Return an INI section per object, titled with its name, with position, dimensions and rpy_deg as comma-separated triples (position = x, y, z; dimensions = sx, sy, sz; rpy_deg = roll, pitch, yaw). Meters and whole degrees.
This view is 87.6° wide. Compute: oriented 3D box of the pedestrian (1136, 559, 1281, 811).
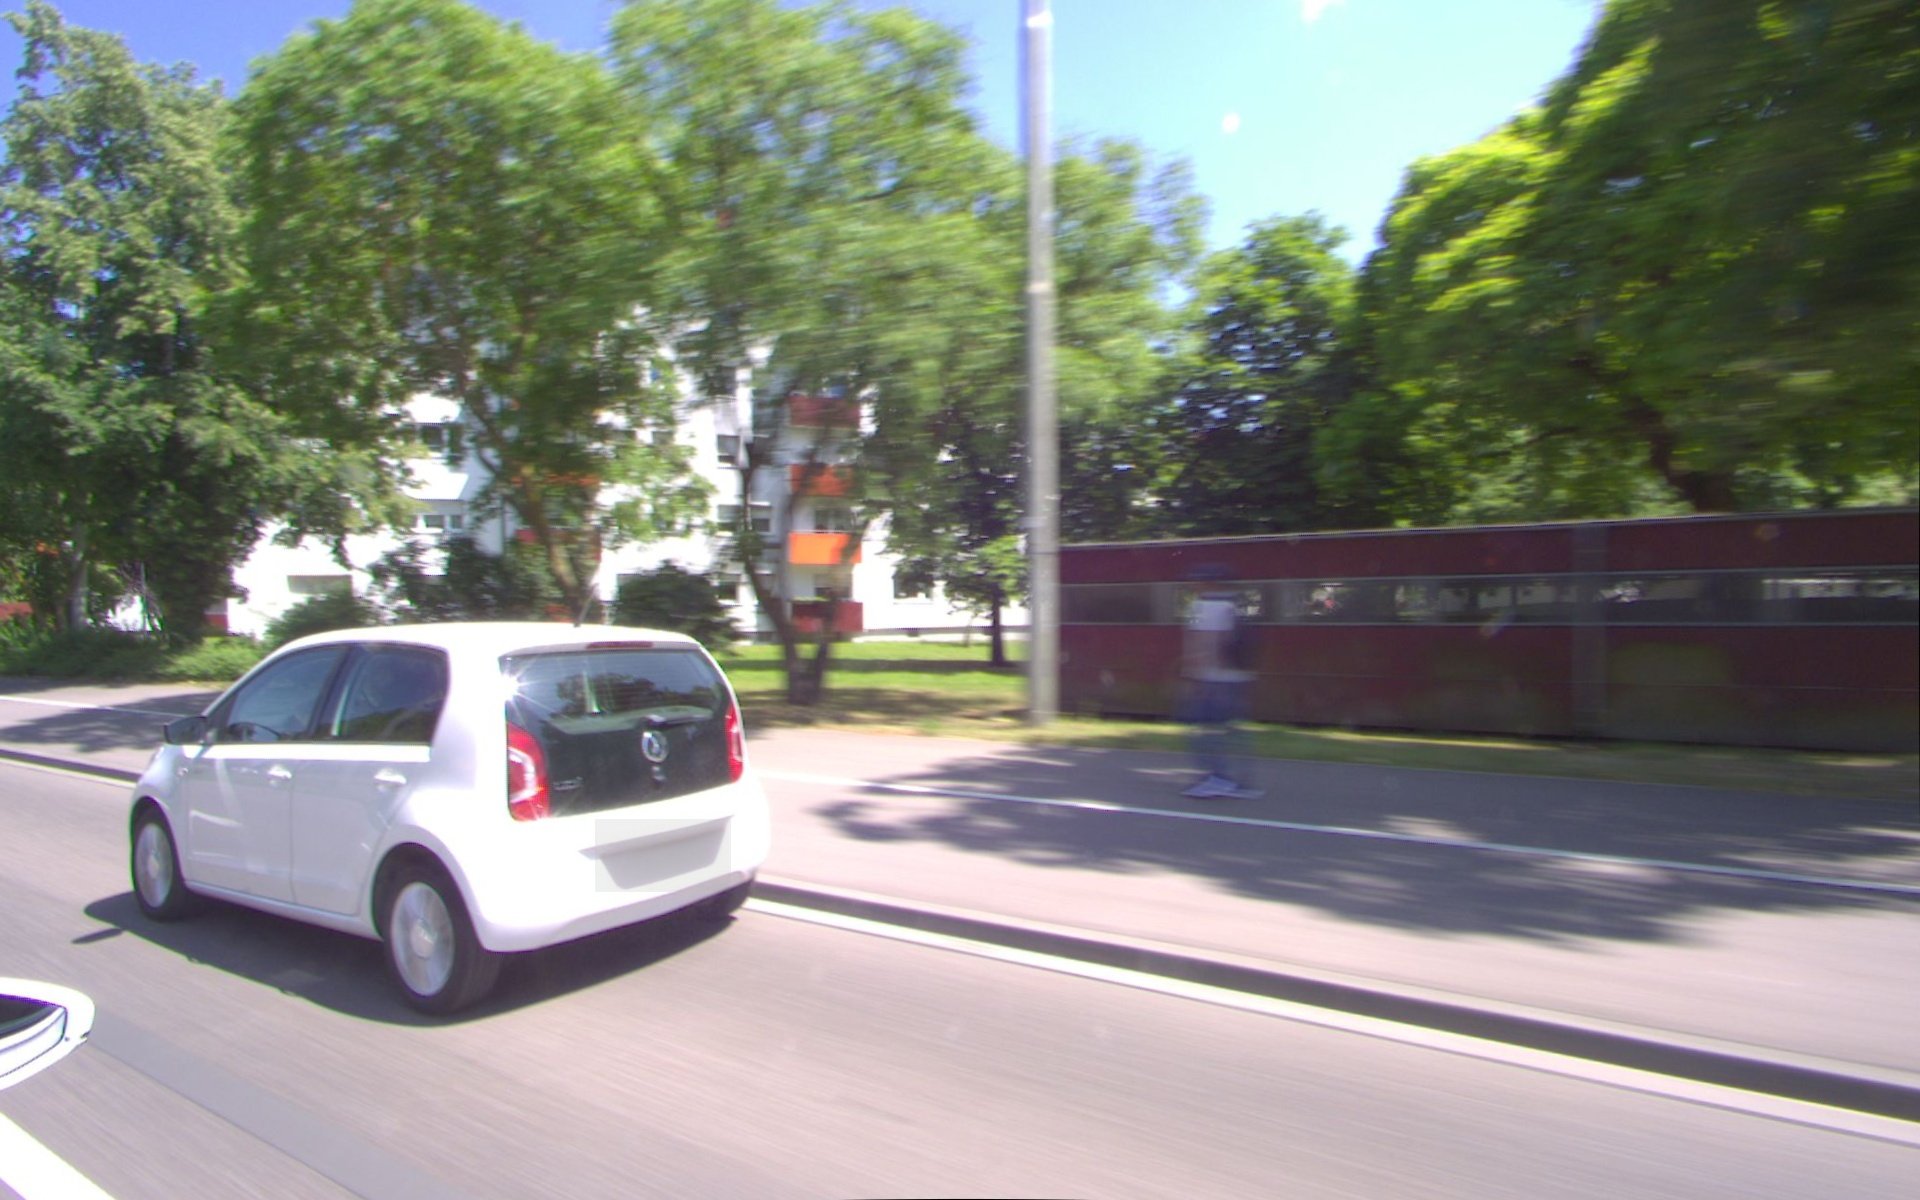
[pedestrian]
position = 1.777, 0.569, 7.128
dimensions = 0.844, 1.665, 0.667
rpy_deg = 0, 0, 31

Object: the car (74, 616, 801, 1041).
[car]
position = -2.815, 0.827, 5.183
dimensions = 3.799, 1.468, 1.656
rpy_deg = -1, -1, 32
